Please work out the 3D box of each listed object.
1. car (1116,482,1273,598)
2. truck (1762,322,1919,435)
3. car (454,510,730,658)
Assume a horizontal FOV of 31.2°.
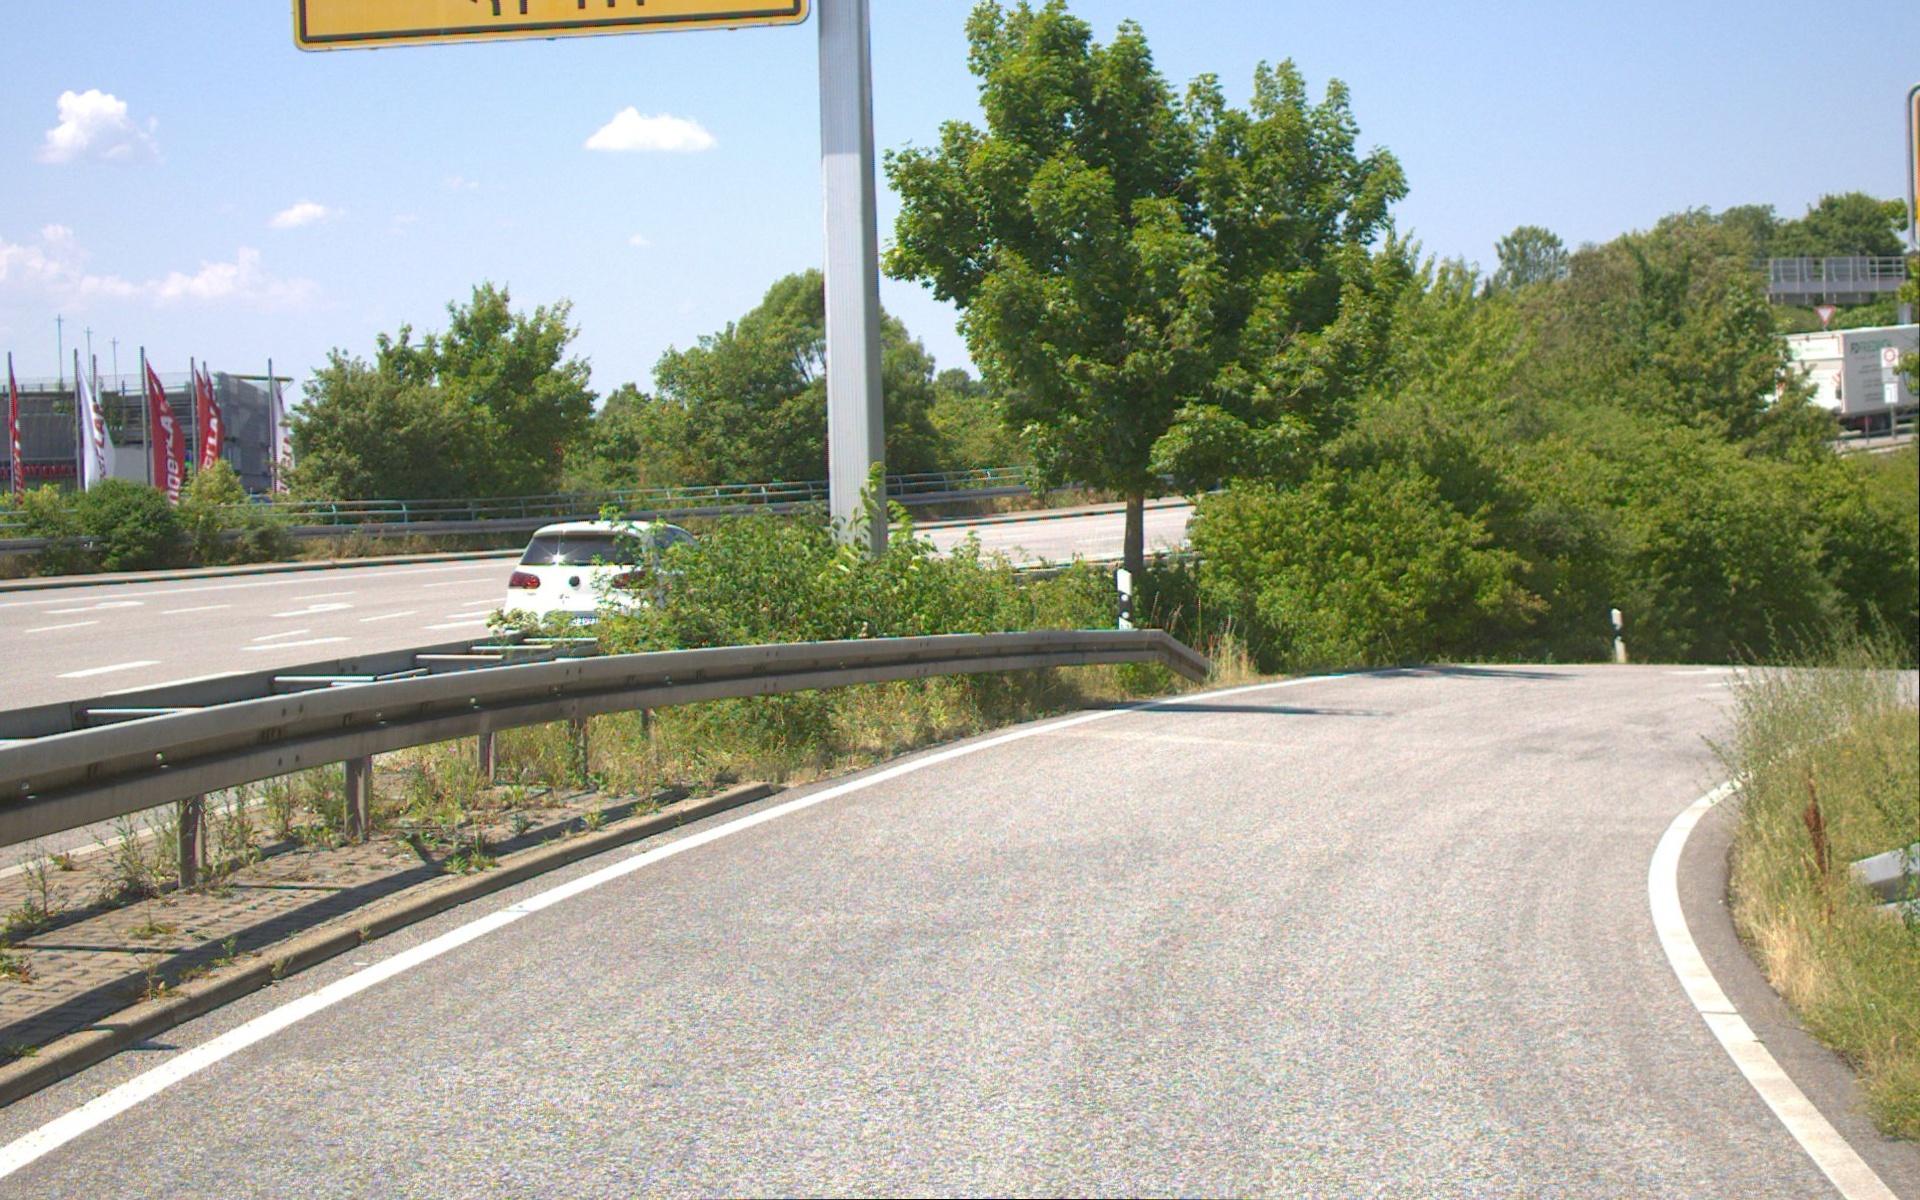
[{"bbox_3d":[4.449,-1.156,64.775,1.738,2.006,3.783,-2,1,23],"label":"car"},{"bbox_3d":[30.867,-7.547,117.267,3.034,3.577,8.883,-2,2,40],"label":"truck"},{"bbox_3d":[-3.860,-0.194,36.789,1.994,1.481,4.134,0,1,8],"label":"car"}]
